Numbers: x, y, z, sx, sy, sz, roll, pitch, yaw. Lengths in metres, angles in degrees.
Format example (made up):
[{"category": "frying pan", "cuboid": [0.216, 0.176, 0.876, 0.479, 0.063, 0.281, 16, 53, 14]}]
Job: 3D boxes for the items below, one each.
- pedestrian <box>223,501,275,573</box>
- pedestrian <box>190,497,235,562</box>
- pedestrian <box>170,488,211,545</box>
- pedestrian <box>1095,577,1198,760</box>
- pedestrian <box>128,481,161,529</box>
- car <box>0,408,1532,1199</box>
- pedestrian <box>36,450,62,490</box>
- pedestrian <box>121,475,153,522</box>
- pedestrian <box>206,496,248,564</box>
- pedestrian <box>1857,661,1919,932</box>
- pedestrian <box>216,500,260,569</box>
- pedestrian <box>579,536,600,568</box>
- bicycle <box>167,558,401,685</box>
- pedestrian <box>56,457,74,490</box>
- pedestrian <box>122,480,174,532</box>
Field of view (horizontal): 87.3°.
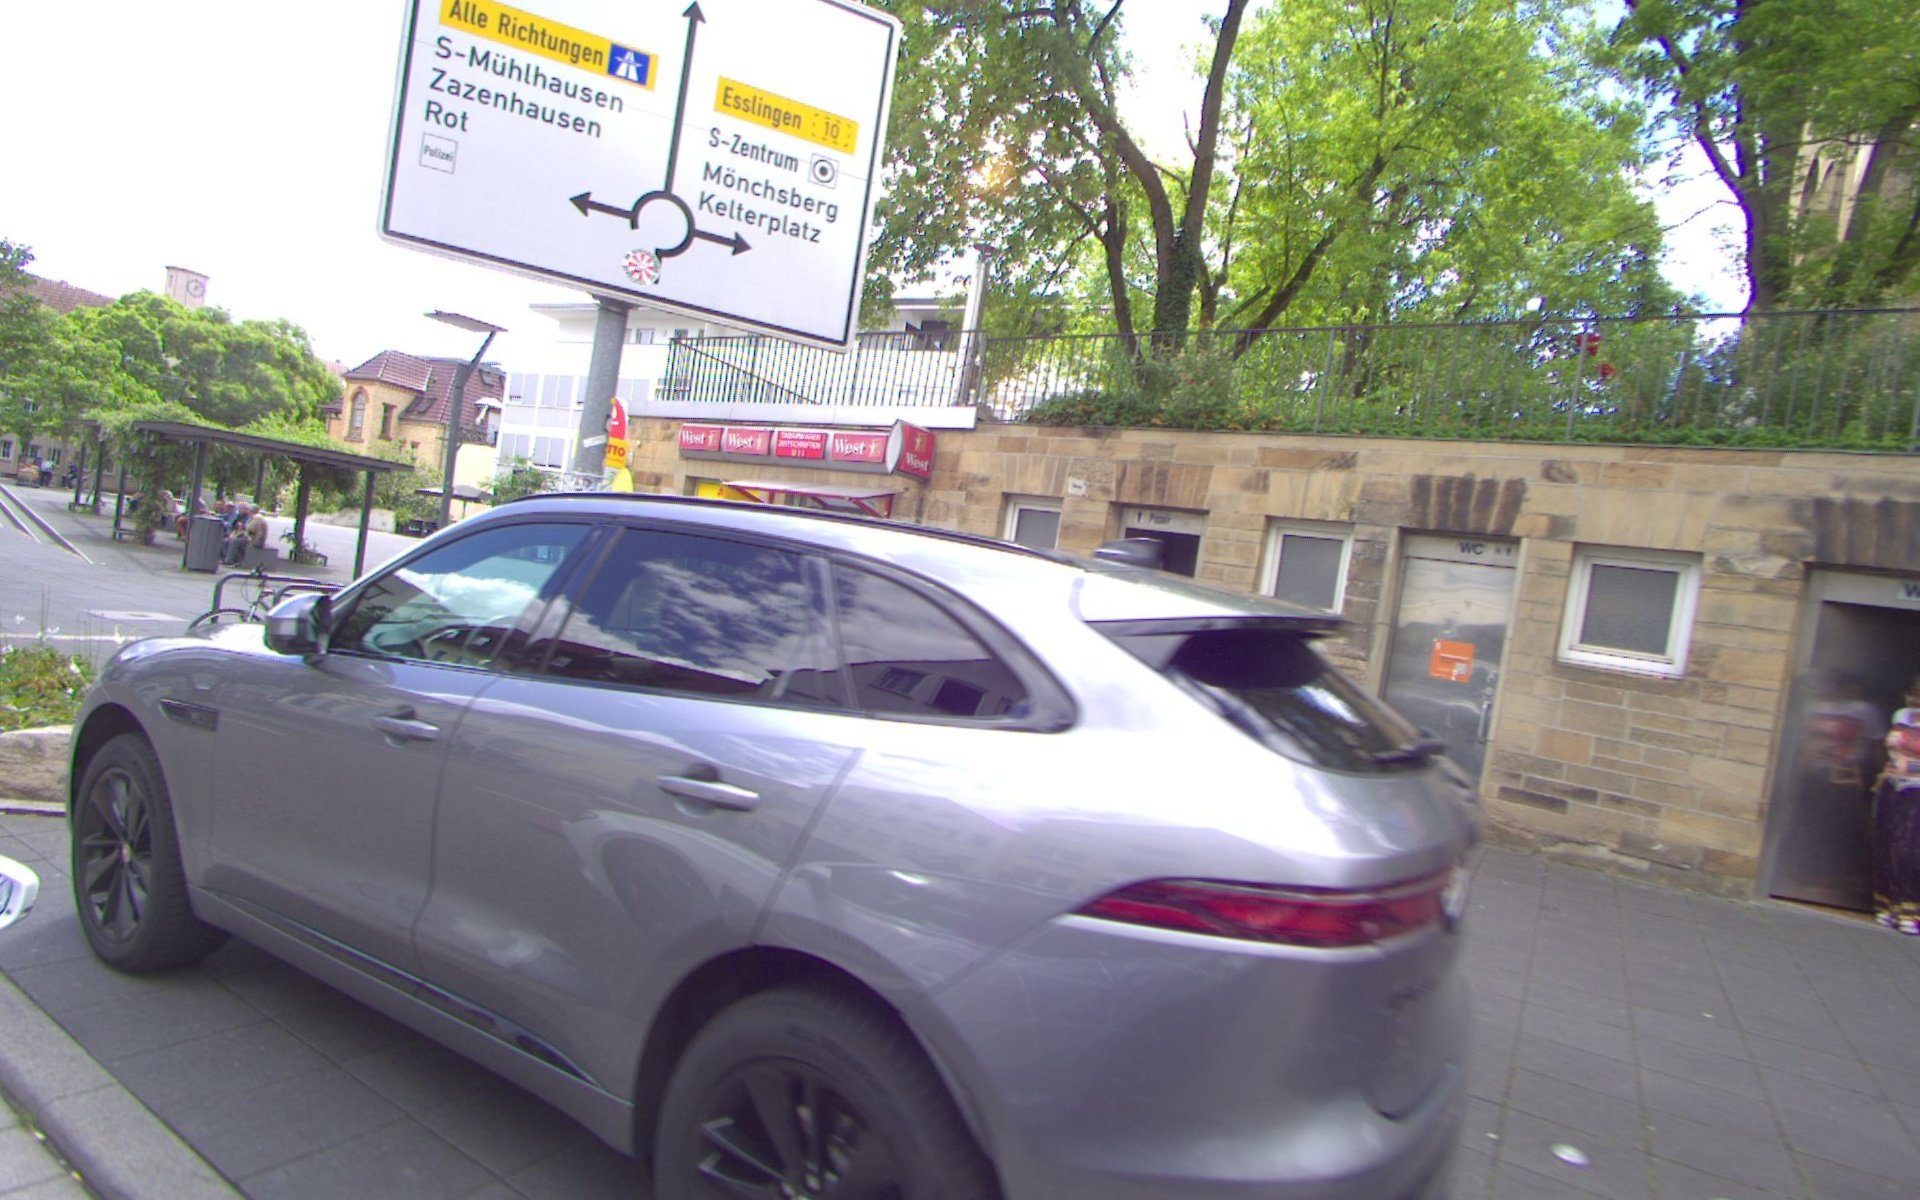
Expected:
[{"category": "pedestrian", "cuboid": [-14.559, -1.288, 20.593, 0.577, 1.338, 0.615, 11, 4, 39]}, {"category": "pedestrian", "cuboid": [-16.127, -1.525, 21.712, 0.533, 1.278, 0.567, 11, 4, 39]}, {"category": "pedestrian", "cuboid": [-19.327, -2.095, 25.275, 0.538, 1.324, 0.623, 9, 3, 39]}, {"category": "pedestrian", "cuboid": [1.938, 0.687, 10.424, 0.748, 1.754, 0.597, 7, 3, 22]}, {"category": "pedestrian", "cuboid": [-23.154, -2.704, 28.569, 0.566, 1.242, 0.559, 8, 1, -45]}, {"category": "car", "cuboid": [-0.877, 0.504, 3.189, 4.497, 1.746, 1.931, 7, 0, 31]}, {"category": "pedestrian", "cuboid": [-36.836, -5.252, 40.666, 0.445, 1.527, 0.504, 8, 2, 12]}, {"category": "pedestrian", "cuboid": [-25.088, -3.094, 30.665, 0.566, 1.339, 0.538, 8, 1, -45]}, {"category": "pedestrian", "cuboid": [-15.547, -1.481, 21.337, 0.517, 1.338, 0.497, 11, 4, 40]}, {"category": "pedestrian", "cuboid": [6.170, 1.251, 6.439, 0.499, 1.666, 0.472, 6, 1, 42]}, {"category": "pedestrian", "cuboid": [-15.052, -1.367, 20.963, 0.566, 1.338, 0.494, 11, 4, 39]}, {"category": "pedestrian", "cuboid": [-16.485, -2.127, 44.768, 0.535, 1.339, 0.570, 8, 0, 9]}, {"category": "bicycle", "cuboid": [-5.968, 0.210, 9.004, 0.339, 1.009, 1.730, 8, 1, 26]}, {"category": "pedestrian", "cuboid": [-36.875, -5.207, 41.450, 0.632, 1.301, 0.362, 9, 2, 41]}, {"category": "pedestrian", "cuboid": [-22.541, -2.605, 27.922, 0.758, 1.284, 0.675, 8, 0, -8]}]
